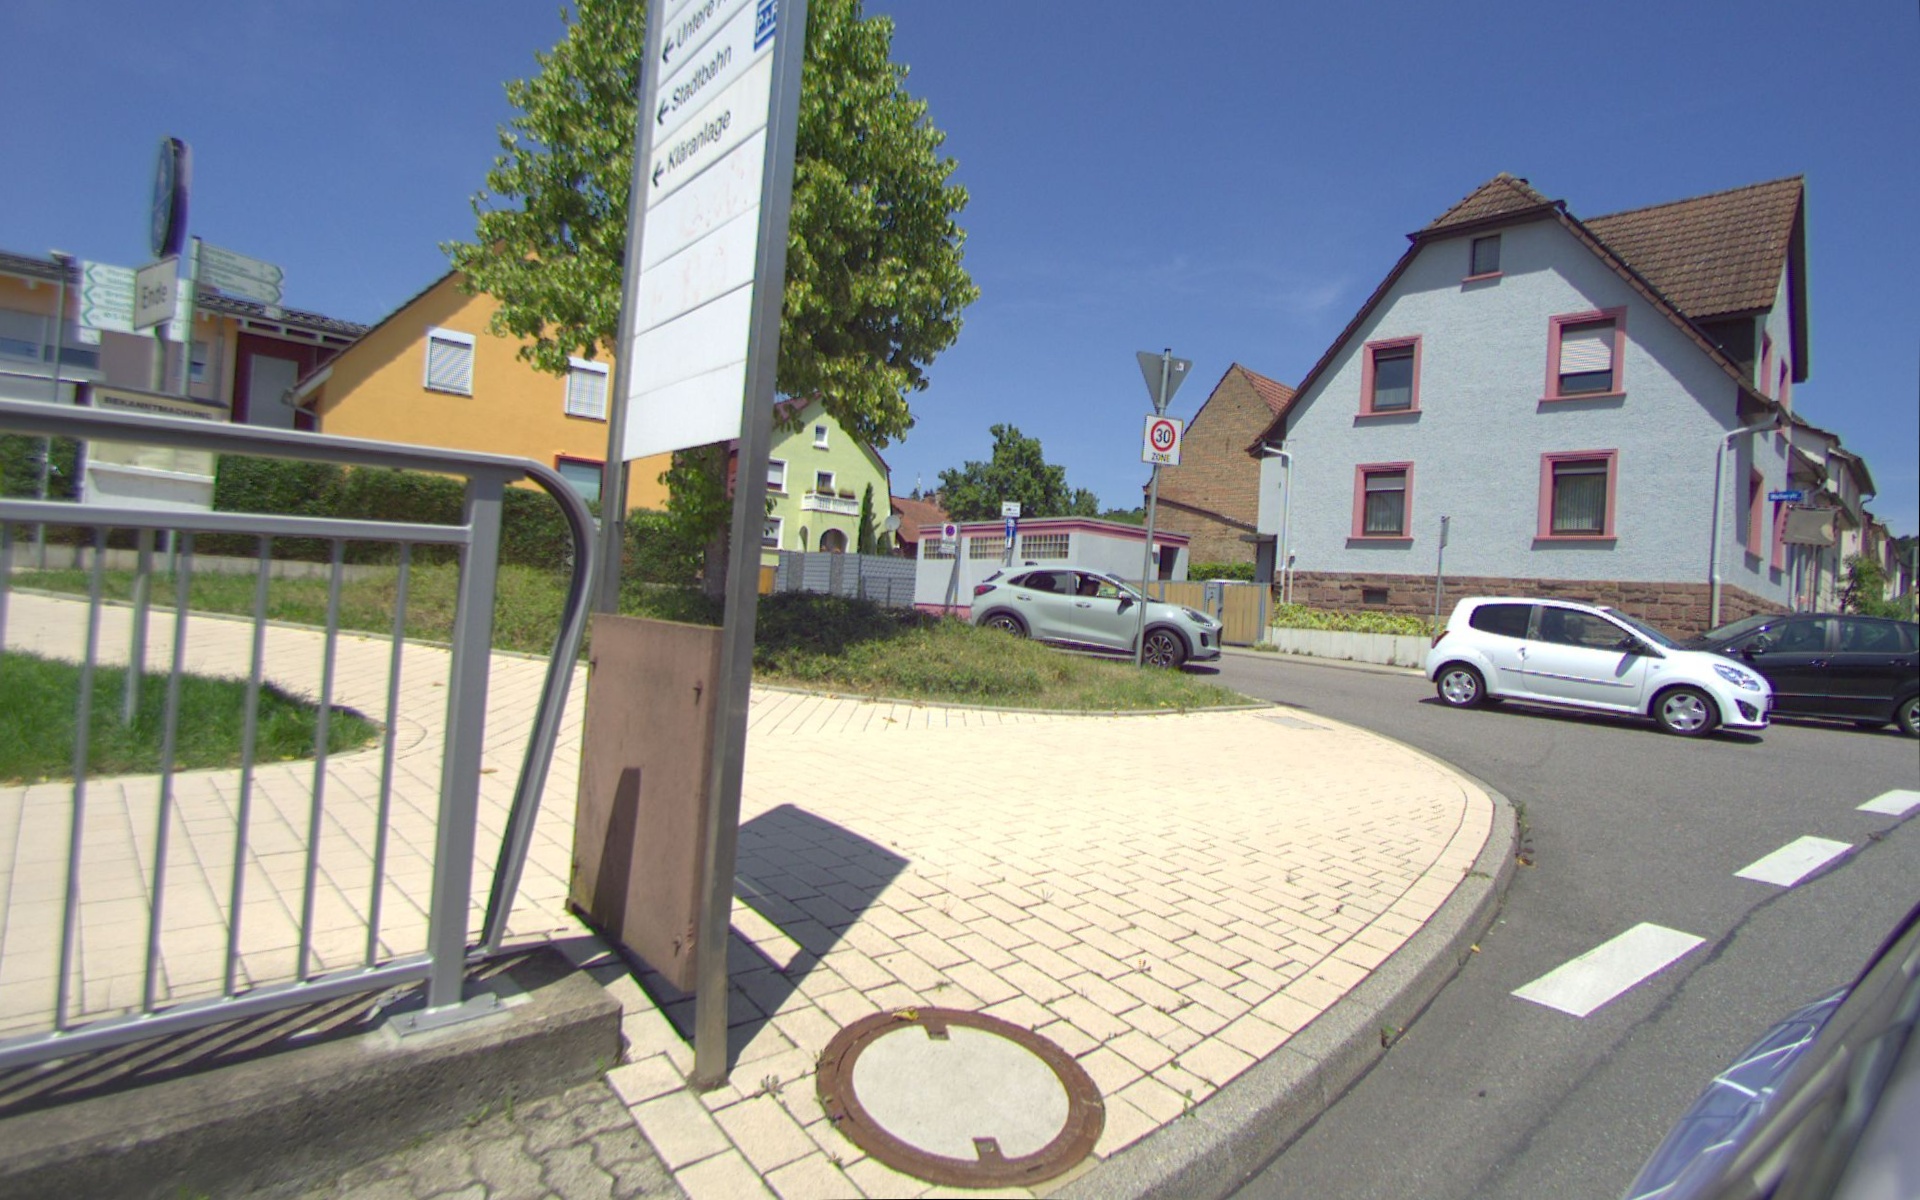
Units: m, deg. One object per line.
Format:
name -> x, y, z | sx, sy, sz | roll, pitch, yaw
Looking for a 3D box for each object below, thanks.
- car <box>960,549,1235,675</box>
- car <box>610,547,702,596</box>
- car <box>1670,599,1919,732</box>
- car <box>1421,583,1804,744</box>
car -> 2.253, 0.141, 16.447 | 4.075, 1.554, 1.765 | 6, 2, 19
car -> -11.417, -1.102, 37.870 | 1.962, 1.616, 4.000 | 3, 1, -37
car -> 12.502, 0.921, 13.912 | 4.110, 1.609, 1.854 | 3, -1, 23
car -> 7.917, 0.666, 12.456 | 3.670, 1.497, 1.748 | 5, 2, 43
